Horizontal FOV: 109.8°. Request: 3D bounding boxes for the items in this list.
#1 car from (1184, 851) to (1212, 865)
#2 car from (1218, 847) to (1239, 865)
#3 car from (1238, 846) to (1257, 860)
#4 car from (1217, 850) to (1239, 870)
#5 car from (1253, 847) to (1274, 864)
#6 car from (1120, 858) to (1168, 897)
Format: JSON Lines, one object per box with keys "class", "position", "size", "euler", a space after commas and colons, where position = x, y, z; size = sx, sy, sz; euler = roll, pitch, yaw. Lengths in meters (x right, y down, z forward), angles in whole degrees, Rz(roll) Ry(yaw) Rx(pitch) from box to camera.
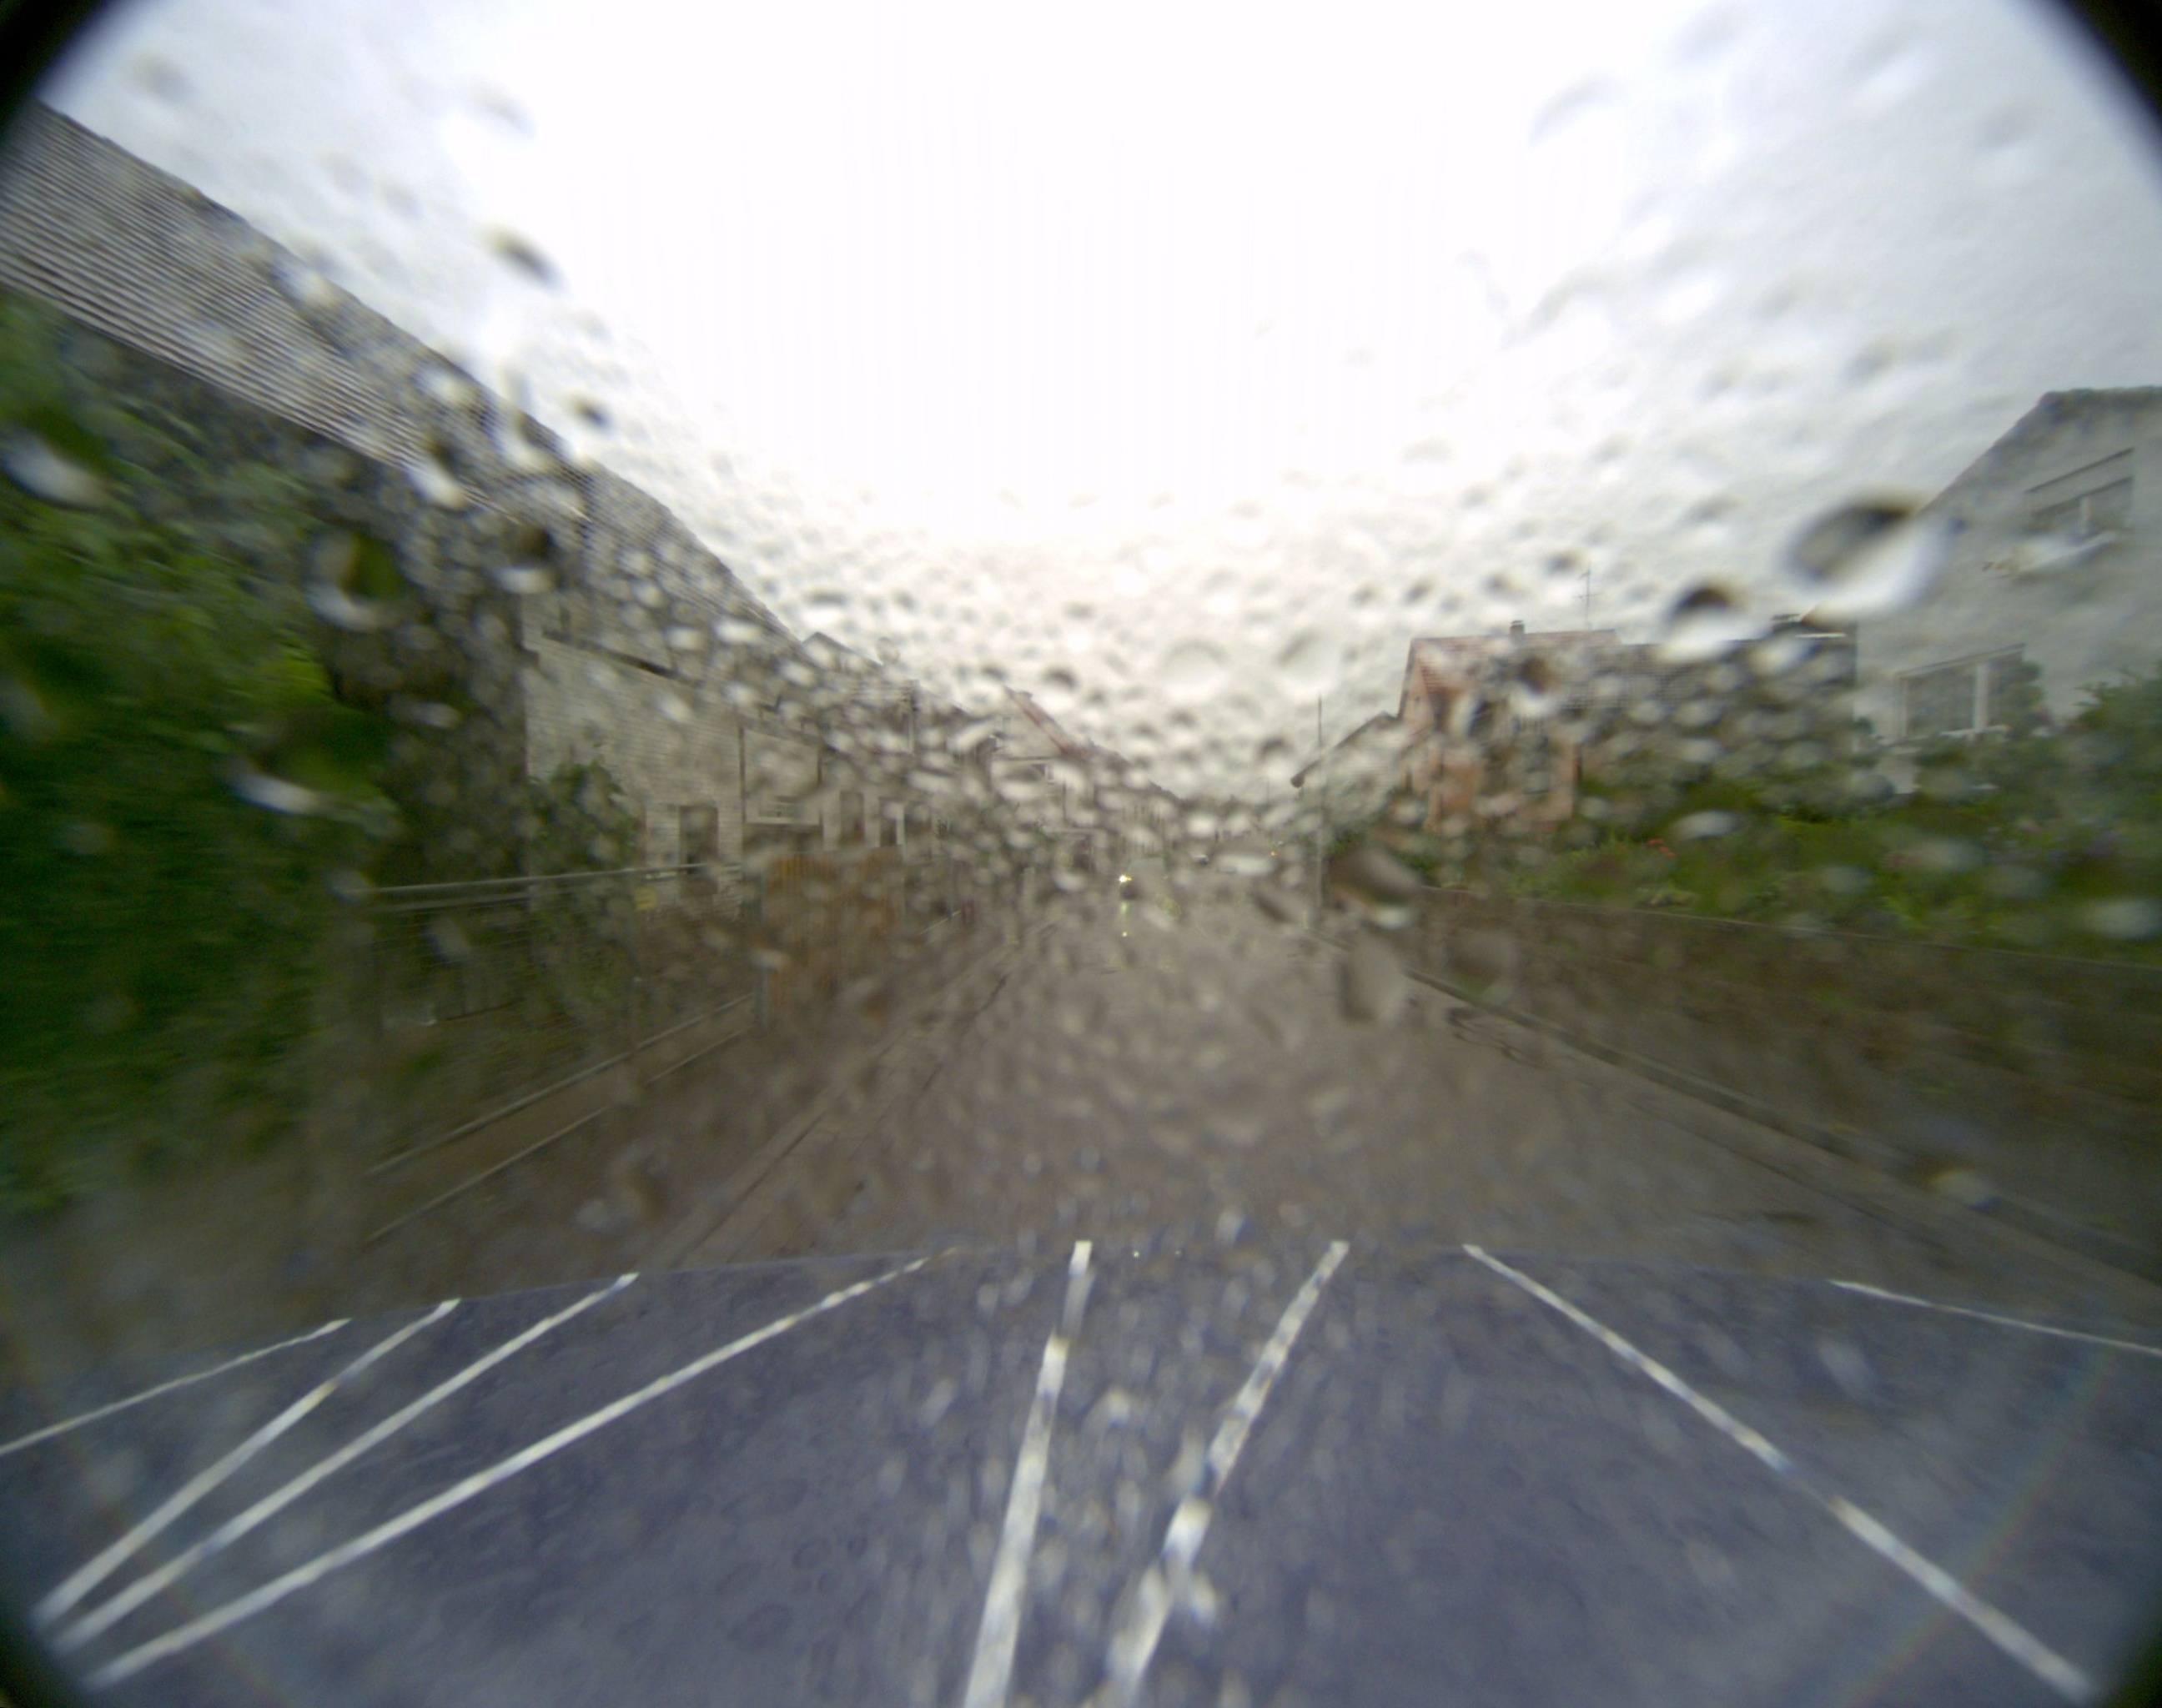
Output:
{"class": "car", "position": [13.635, 0.419, 88.509], "size": [1.892, 1.566, 3.886], "euler": [-3, 1, -13]}
{"class": "car", "position": [15.254, 0.195, 78.583], "size": [1.836, 1.664, 5.201], "euler": [1, 2, 14]}
{"class": "car", "position": [20.375, -0.097, 92.813], "size": [1.813, 1.587, 4.189], "euler": [1, 2, 19]}
{"class": "car", "position": [12.519, 0.483, 64.640], "size": [1.702, 1.538, 3.854], "euler": [2, 1, 12]}
{"class": "car", "position": [19.642, 0.106, 81.704], "size": [1.813, 1.674, 4.189], "euler": [1, 2, 19]}
{"class": "car", "position": [2.446, 0.858, 28.759], "size": [1.666, 1.290, 3.520], "euler": [-2, 0, 6]}
